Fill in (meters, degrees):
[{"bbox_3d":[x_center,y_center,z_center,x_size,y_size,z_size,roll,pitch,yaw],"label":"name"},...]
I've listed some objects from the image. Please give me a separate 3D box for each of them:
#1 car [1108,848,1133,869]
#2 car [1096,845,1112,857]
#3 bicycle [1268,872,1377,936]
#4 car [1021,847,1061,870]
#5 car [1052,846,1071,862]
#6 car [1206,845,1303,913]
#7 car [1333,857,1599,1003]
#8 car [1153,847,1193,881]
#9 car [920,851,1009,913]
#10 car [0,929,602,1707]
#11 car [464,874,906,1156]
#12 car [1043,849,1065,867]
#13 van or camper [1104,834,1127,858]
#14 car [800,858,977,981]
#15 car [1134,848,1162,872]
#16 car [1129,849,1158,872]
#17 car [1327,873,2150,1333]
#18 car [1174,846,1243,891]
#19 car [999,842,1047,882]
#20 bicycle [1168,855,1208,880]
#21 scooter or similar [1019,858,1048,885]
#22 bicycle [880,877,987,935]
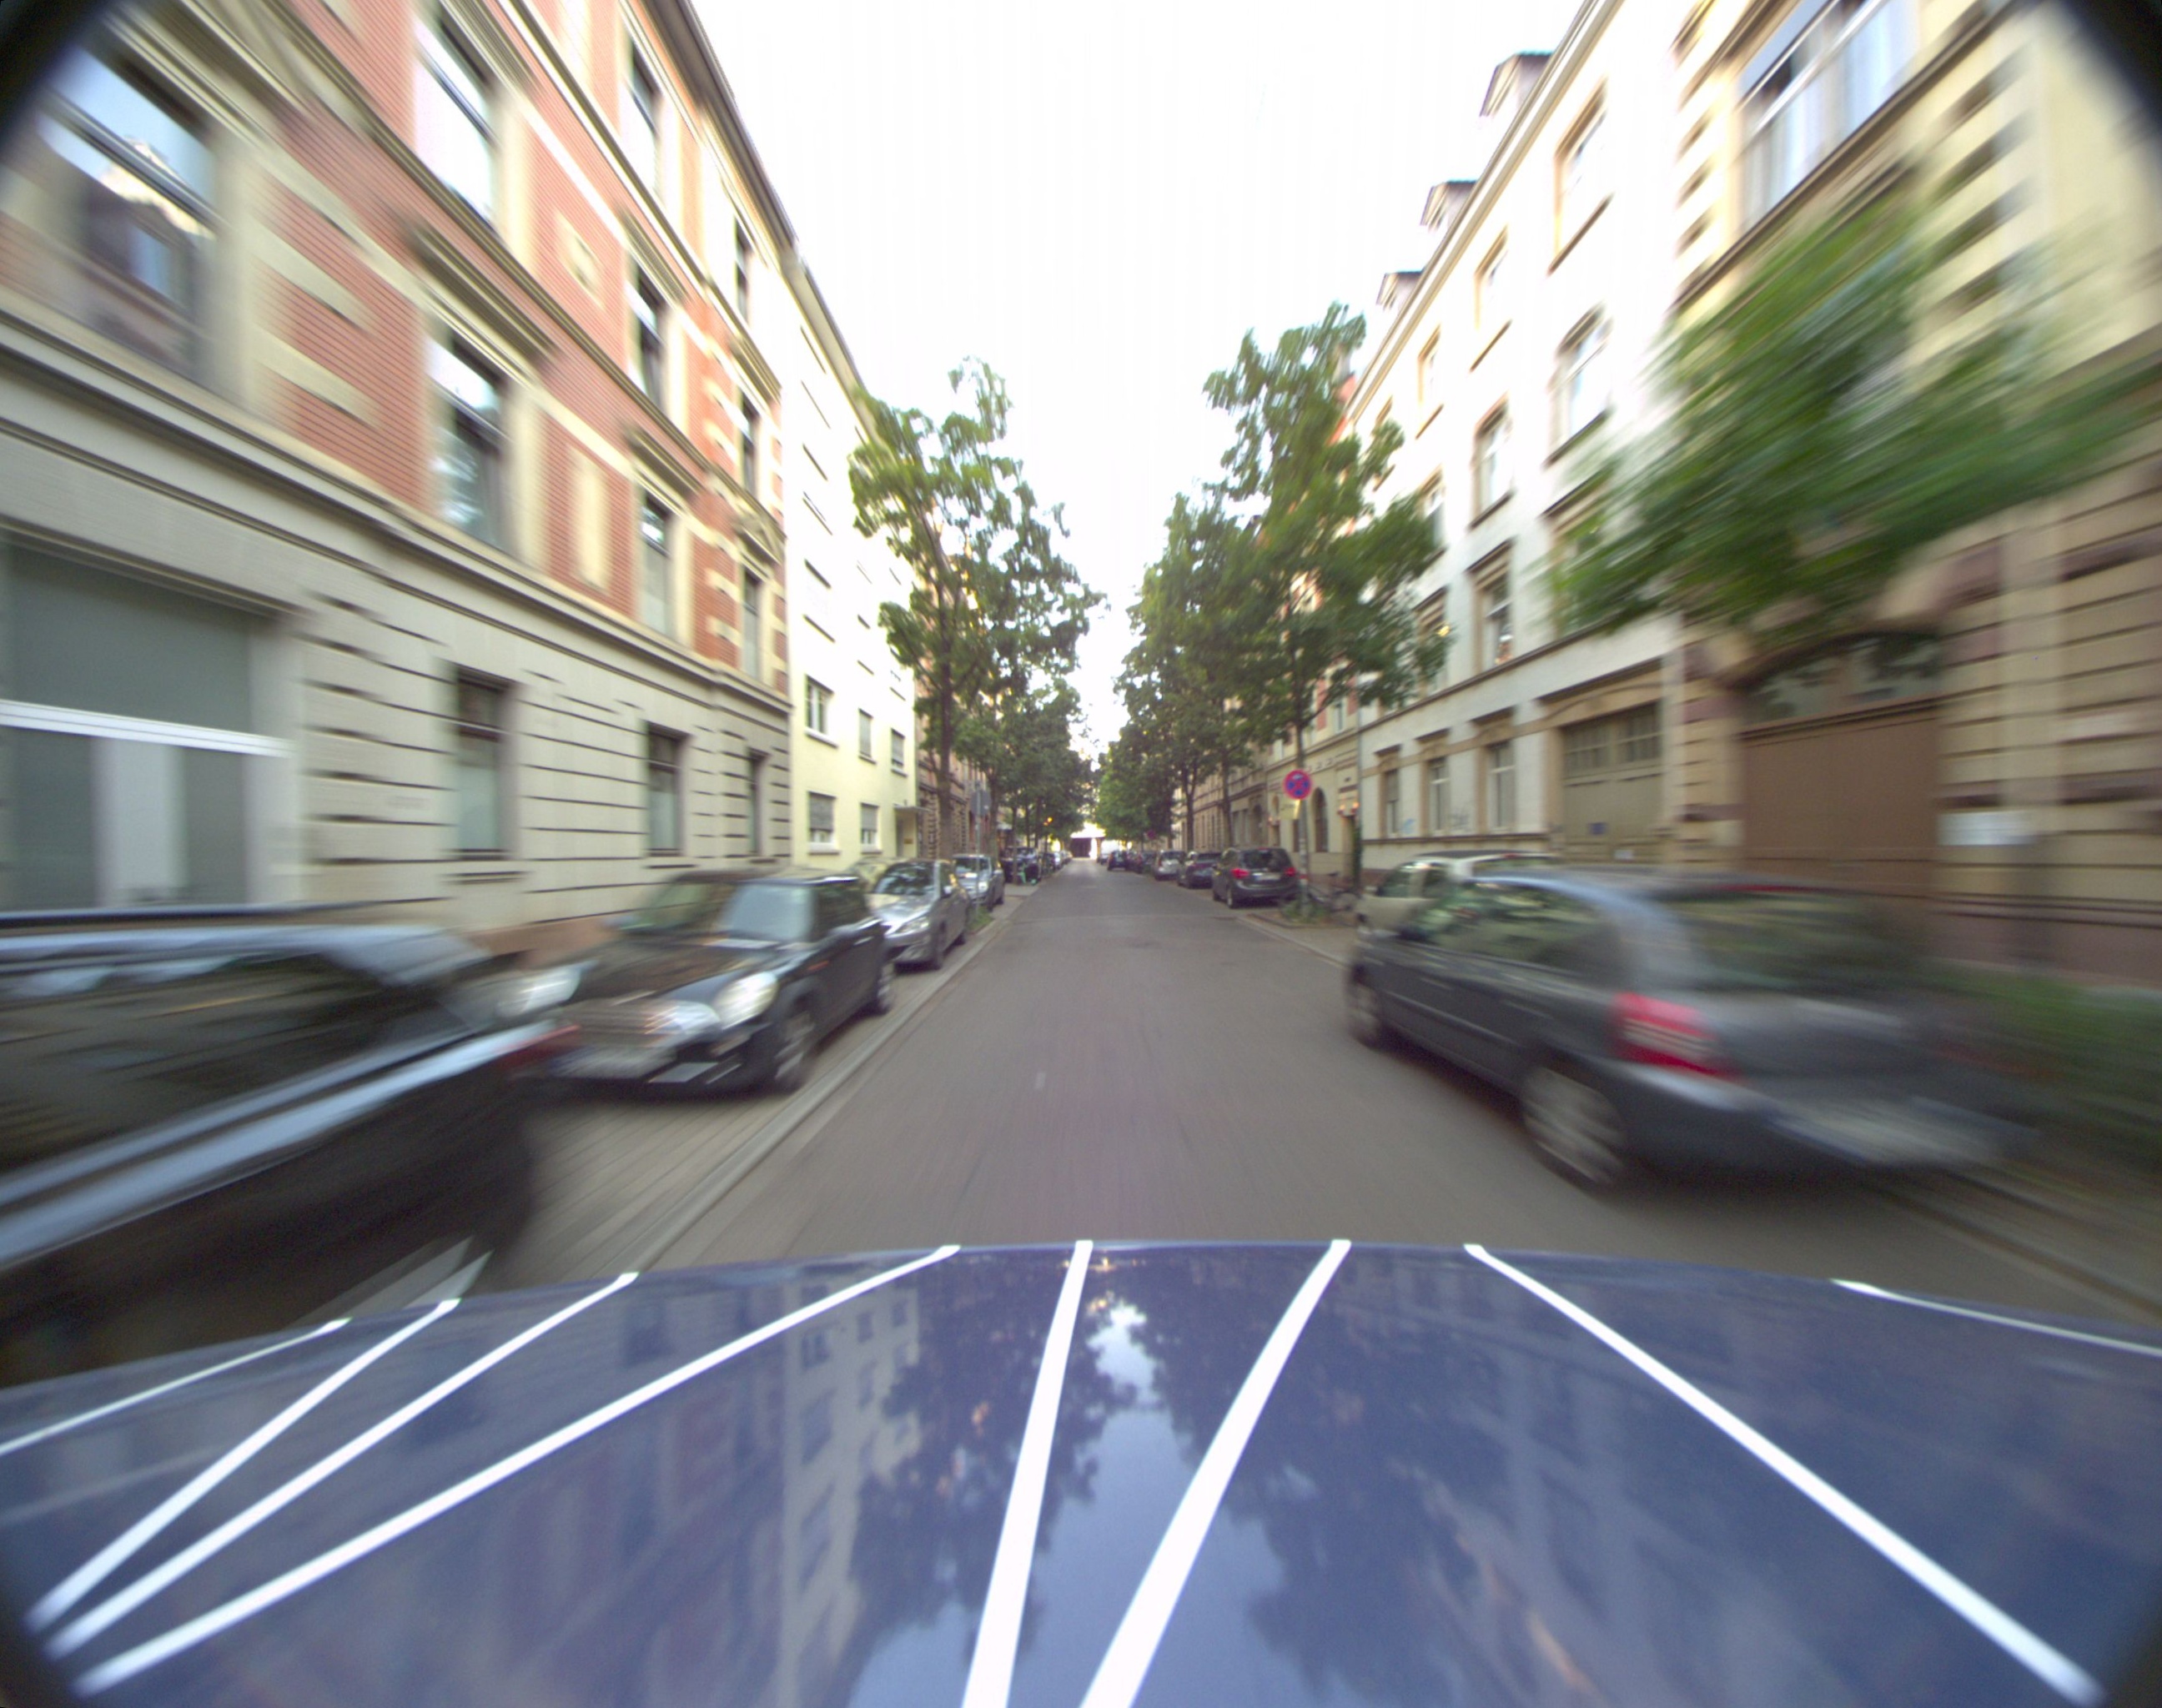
[{"bbox_3d":[3.070,0.322,60.197,1.728,1.564,4.219,-2,1,0],"label":"car"},{"bbox_3d":[2.960,-0.349,96.959,1.665,1.448,4.282,-1,1,-4],"label":"car"},{"bbox_3d":[4.522,0.906,14.326,1.823,1.079,0.670,-1,3,43],"label":"bicycle"},{"bbox_3d":[-2.923,0.330,56.143,2.804,1.590,1.800,2,1,1],"label":"car"},{"bbox_3d":[-2.150,0.014,83.312,1.944,1.621,4.453,-2,1,0],"label":"car"},{"bbox_3d":[4.575,0.611,20.618,1.711,1.571,4.078,-3,0,1],"label":"car"},{"bbox_3d":[4.706,0.815,9.885,1.591,1.428,3.565,-3,1,0],"label":"car"},{"bbox_3d":[4.704,0.452,39.330,1.680,1.598,3.861,-3,1,2],"label":"car"},{"bbox_3d":[-3.028,0.682,20.608,1.763,1.454,4.307,-1,1,0],"label":"car"},{"bbox_3d":[-2.505,0.986,0.290,1.771,1.407,4.473,0,1,1],"label":"car"},{"bbox_3d":[-2.589,0.937,5.985,1.640,1.416,3.563,0,1,-1],"label":"car"},{"bbox_3d":[-2.322,0.316,65.533,1.737,1.482,4.103,-1,1,0],"label":"car"},{"bbox_3d":[3.615,-0.807,80.645,2.225,2.417,5.659,-1,1,0],"label":"van or camper"},{"bbox_3d":[-2.699,0.833,11.695,1.721,1.467,4.367,0,1,-2],"label":"car"},{"bbox_3d":[4.540,0.410,51.985,1.523,1.493,3.560,-3,1,0],"label":"car"},{"bbox_3d":[4.556,0.449,55.735,1.695,1.493,3.711,-3,1,-1],"label":"car"},{"bbox_3d":[2.860,0.903,4.476,1.584,1.412,3.752,-1,1,0],"label":"car"},{"bbox_3d":[4.861,0.494,29.581,1.810,1.509,4.684,-3,1,0],"label":"car"},{"bbox_3d":[-2.844,0.359,38.057,2.019,1.823,4.810,1,1,0],"label":"car"},{"bbox_3d":[4.885,0.597,34.674,1.688,0.997,0.430,-4,1,2],"label":"bicycle"},{"bbox_3d":[-2.129,0.770,34.082,0.673,1.183,1.118,2,2,40],"label":"scooter or similar"},{"bbox_3d":[-2.827,0.969,14.598,1.923,0.976,0.637,-2,1,-21],"label":"bicycle"}]
